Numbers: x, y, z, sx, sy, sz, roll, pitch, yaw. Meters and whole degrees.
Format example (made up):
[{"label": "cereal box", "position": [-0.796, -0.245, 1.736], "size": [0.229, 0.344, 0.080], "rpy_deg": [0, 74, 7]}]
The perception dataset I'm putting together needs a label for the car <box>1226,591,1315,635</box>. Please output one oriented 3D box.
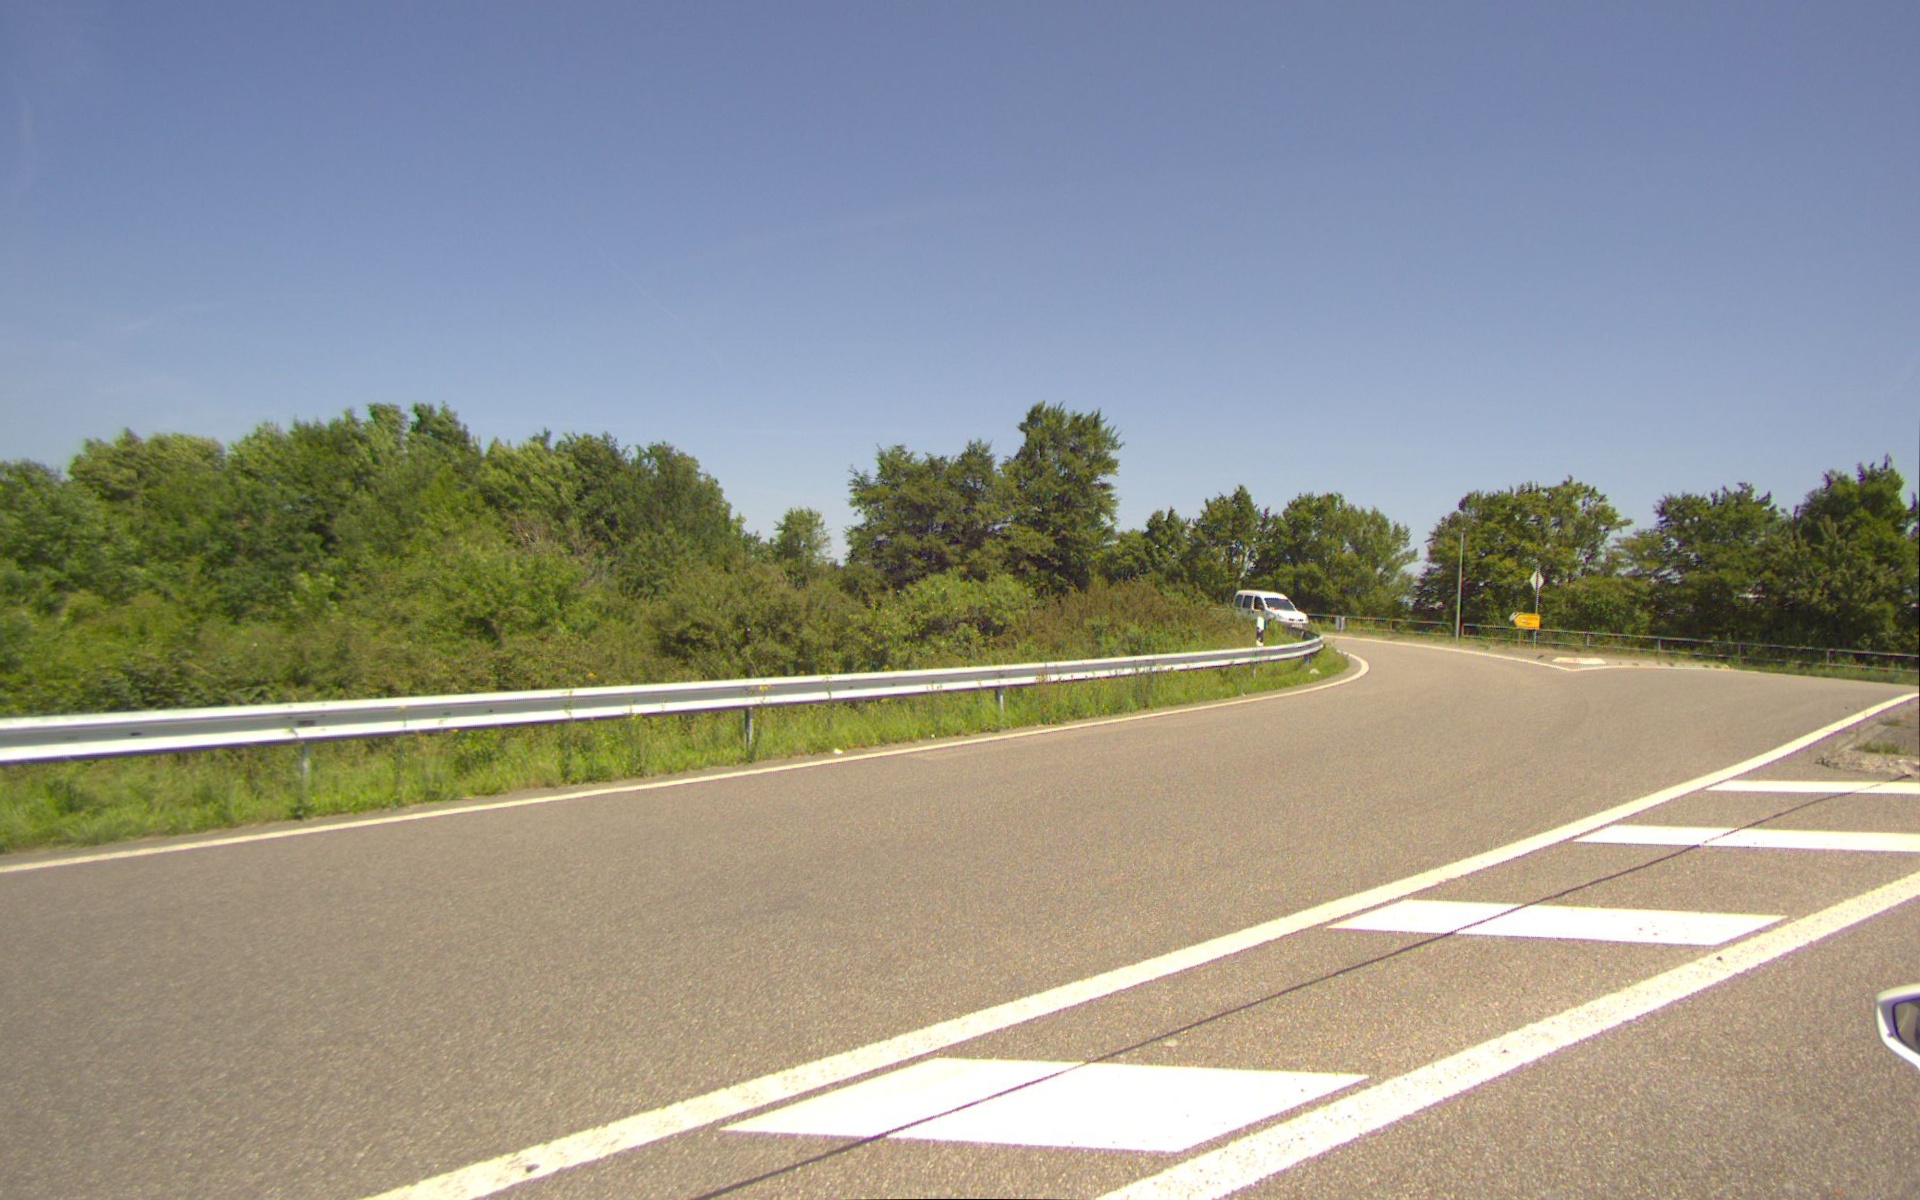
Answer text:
[{"label": "car", "position": [13.134, 0.513, 42.749], "size": [1.713, 1.785, 4.069], "rpy_deg": [1, 0, -16]}]
